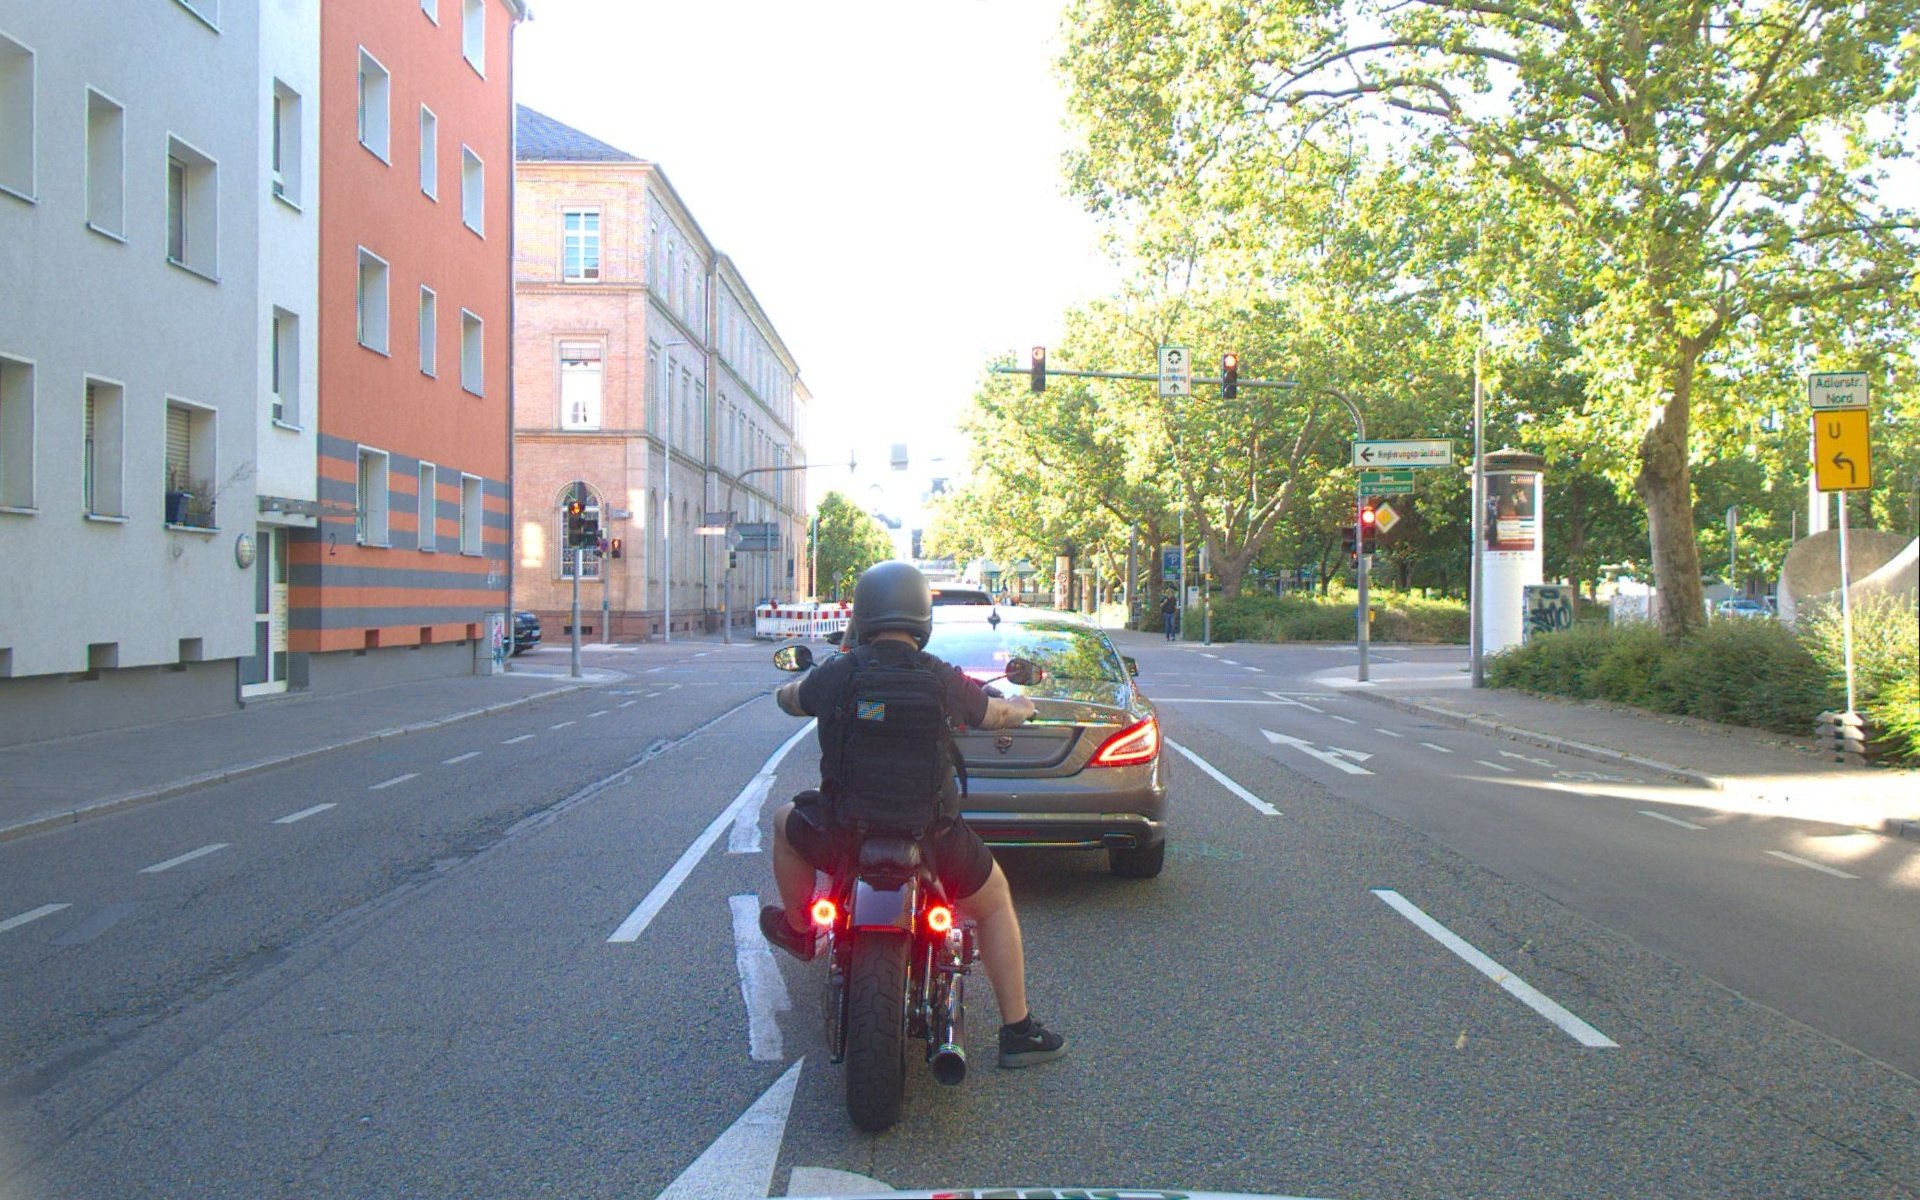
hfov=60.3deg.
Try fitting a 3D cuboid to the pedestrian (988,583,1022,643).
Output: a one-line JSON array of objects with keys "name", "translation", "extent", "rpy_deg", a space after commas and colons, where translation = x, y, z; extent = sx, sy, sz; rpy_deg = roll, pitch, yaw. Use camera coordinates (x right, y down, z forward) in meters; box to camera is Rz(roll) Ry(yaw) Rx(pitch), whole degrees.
[{"name": "pedestrian", "translation": [1.449, 0.408, 52.587], "extent": [0.980, 1.858, 1.077], "rpy_deg": [1, 0, 5]}]

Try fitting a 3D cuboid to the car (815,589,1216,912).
[{"name": "car", "translation": [0.233, 0.692, 9.613], "extent": [1.844, 1.475, 3.819], "rpy_deg": [1, 0, -1]}]

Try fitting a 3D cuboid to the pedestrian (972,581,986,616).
[{"name": "pedestrian", "translation": [1.158, -0.090, 100.877], "extent": [0.748, 2.087, 0.712], "rpy_deg": [1, -1, -1]}]

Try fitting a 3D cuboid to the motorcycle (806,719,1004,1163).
[{"name": "motorcycle", "translation": [-0.158, 0.967, 5.347], "extent": [0.503, 1.020, 2.013], "rpy_deg": [1, 0, -1]}]

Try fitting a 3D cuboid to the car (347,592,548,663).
[{"name": "car", "translation": [-12.195, 0.655, 39.573], "extent": [4.289, 1.597, 1.853], "rpy_deg": [1, 0, -8]}]

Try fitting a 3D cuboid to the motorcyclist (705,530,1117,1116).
[{"name": "motorcyclist", "translation": [-0.144, 0.629, 5.280], "extent": [1.125, 1.626, 1.288], "rpy_deg": [1, 0, -1]}]

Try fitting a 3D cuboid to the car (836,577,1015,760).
[{"name": "car", "translation": [-0.333, 0.604, 16.721], "extent": [1.588, 1.622, 3.999], "rpy_deg": [0, 0, -1]}]

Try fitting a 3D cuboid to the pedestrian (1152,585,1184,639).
[{"name": "pedestrian", "translation": [7.518, 0.427, 59.726], "extent": [0.741, 1.943, 0.917], "rpy_deg": [1, -1, -29]}]
